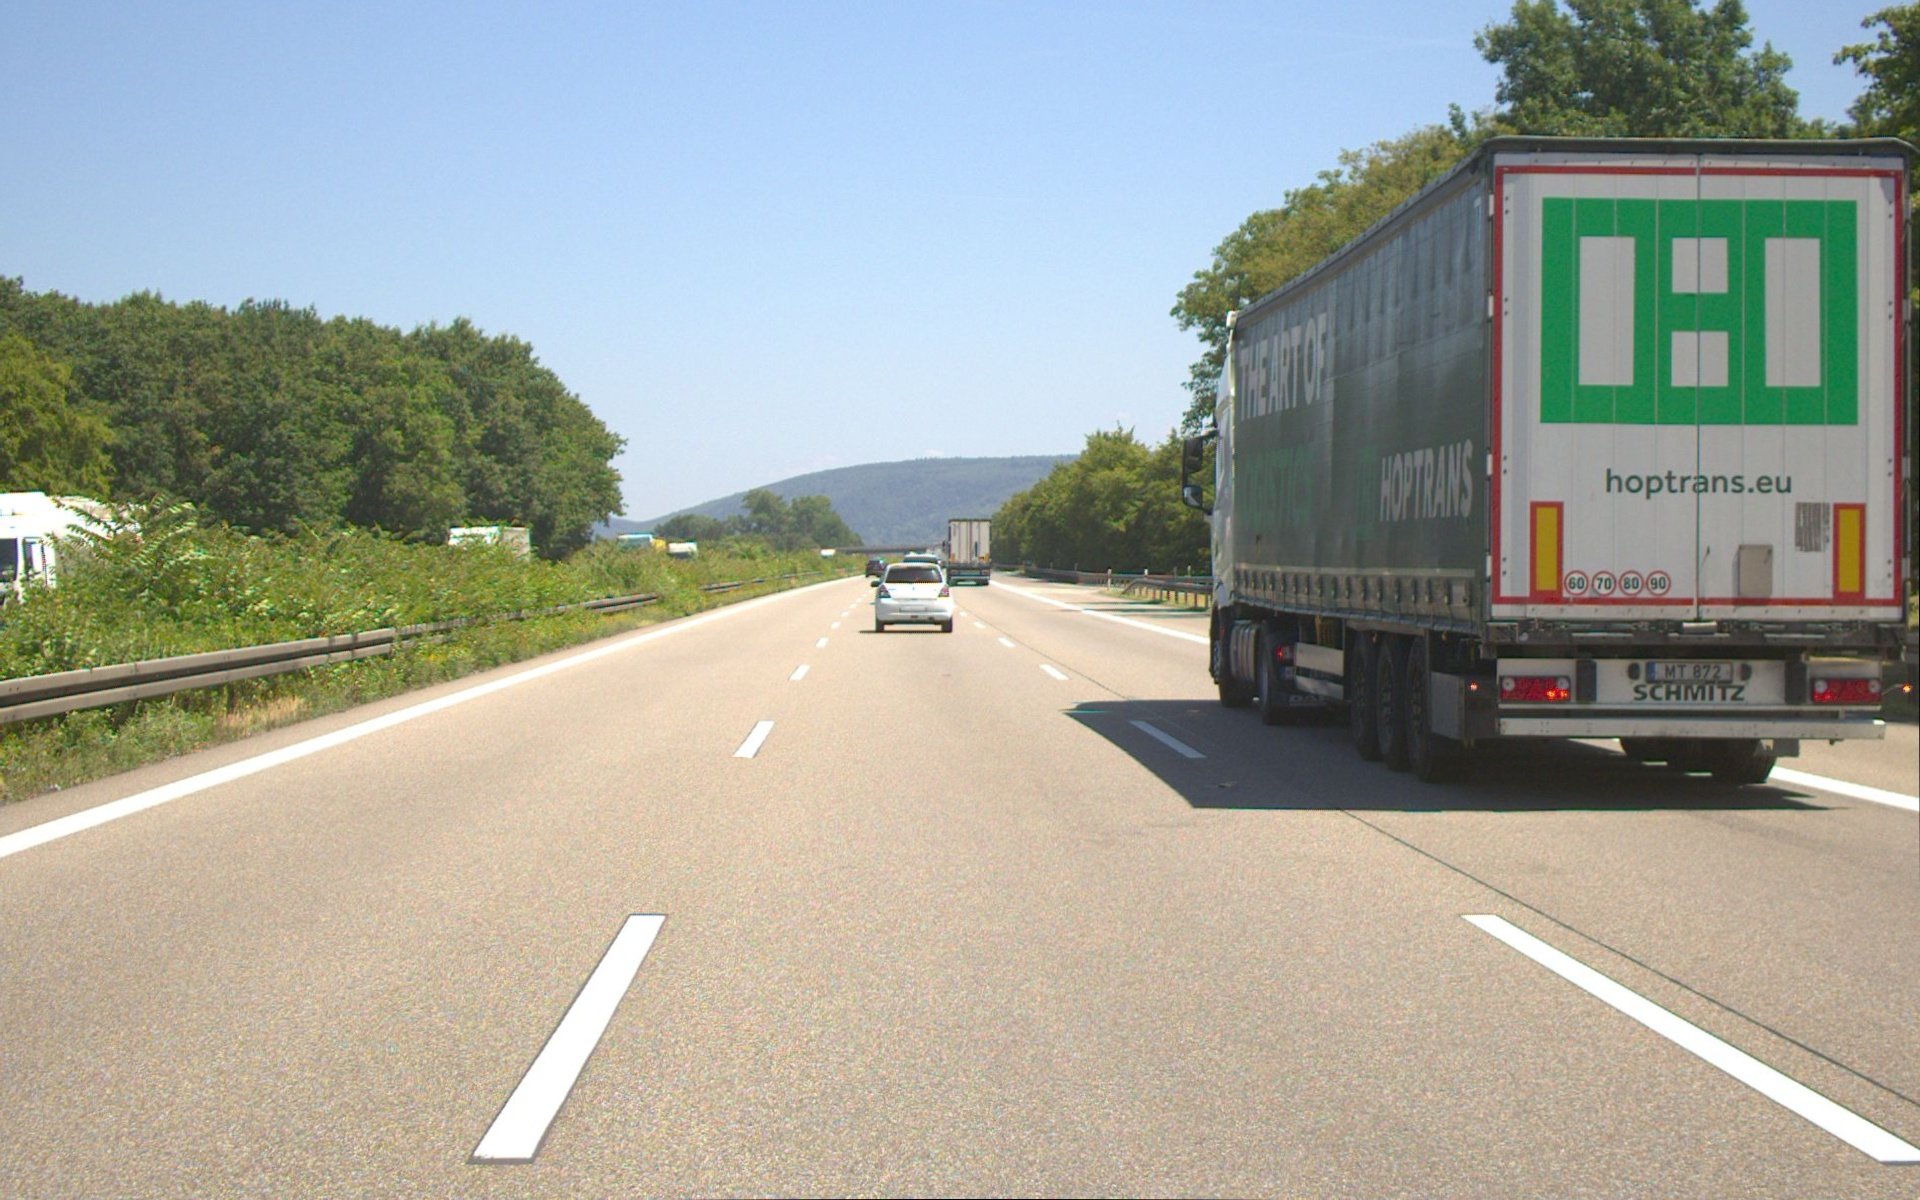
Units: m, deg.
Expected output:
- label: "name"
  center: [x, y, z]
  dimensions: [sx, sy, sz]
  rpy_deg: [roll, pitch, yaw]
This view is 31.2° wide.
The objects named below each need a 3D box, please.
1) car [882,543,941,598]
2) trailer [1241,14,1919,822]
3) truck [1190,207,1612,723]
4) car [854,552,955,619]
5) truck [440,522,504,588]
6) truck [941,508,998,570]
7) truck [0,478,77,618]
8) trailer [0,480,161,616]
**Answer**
- label: "car"
  center: [-1.706, -1.069, 122.795]
  dimensions: [1.897, 1.886, 4.000]
  rpy_deg: [-2, 1, 2]
- label: "trailer"
  center: [4.291, -1.139, 25.796]
  dimensions: [3.181, 4.611, 12.051]
  rpy_deg: [-1, 1, -1]
- label: "truck"
  center: [4.140, -1.245, 33.650]
  dimensions: [3.182, 4.591, 5.948]
  rpy_deg: [0, 1, -2]
- label: "car"
  center: [-1.243, -0.330, 75.243]
  dimensions: [1.811, 1.400, 3.318]
  rpy_deg: [-1, 1, -8]
- label: "truck"
  center: [-23.582, -2.187, 166.225]
  dimensions: [2.572, 3.134, 4.264]
  rpy_deg: [-1, 1, -2]
- label: "truck"
  center: [0.549, -3.793, 213.733]
  dimensions: [3.325, 3.744, 12.796]
  rpy_deg: [0, 1, -1]
- label: "truck"
  center: [-21.569, -1.176, 77.310]
  dimensions: [2.346, 3.068, 4.397]
  rpy_deg: [0, 1, -1]
- label: "trailer"
  center: [-21.657, -1.261, 83.004]
  dimensions: [2.371, 3.080, 10.649]
  rpy_deg: [0, 1, -1]
